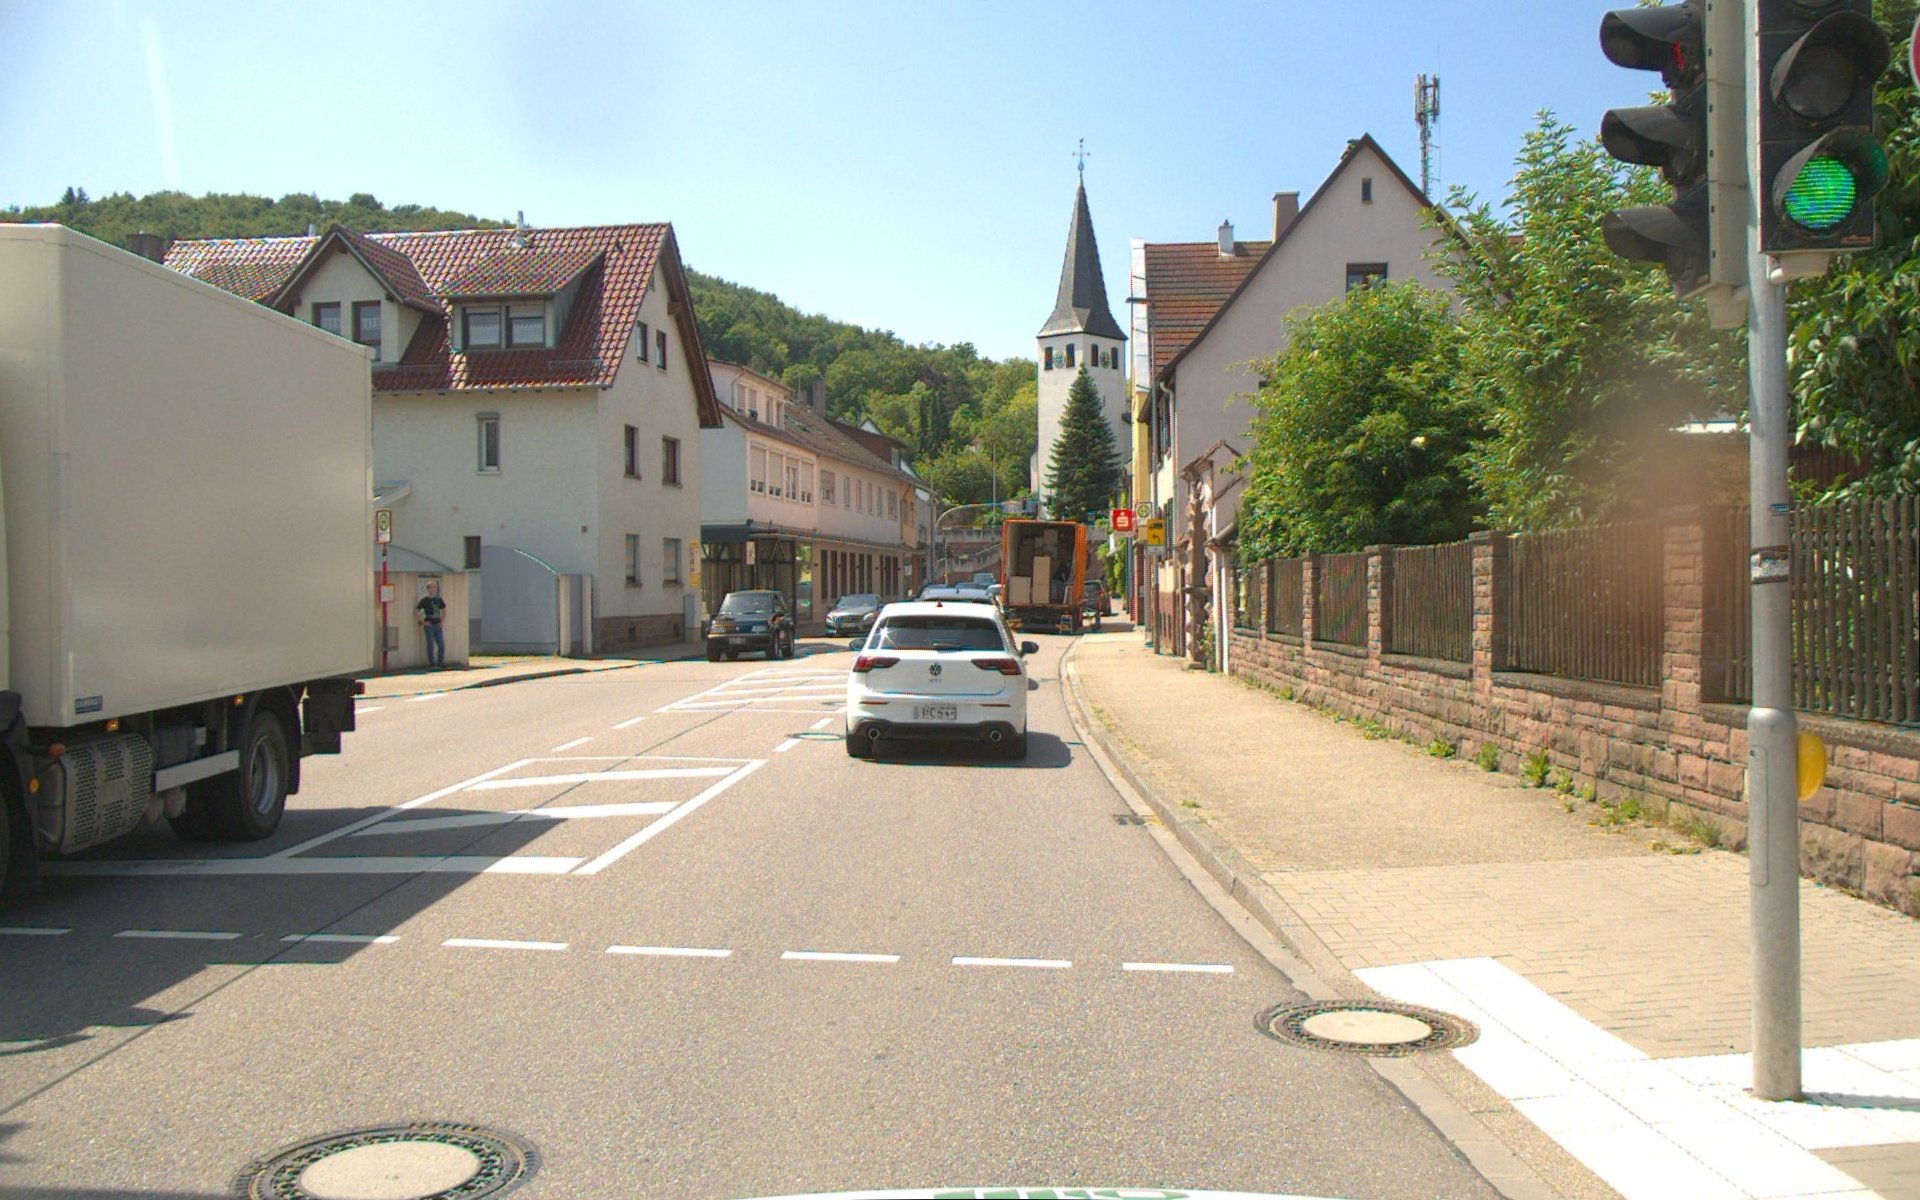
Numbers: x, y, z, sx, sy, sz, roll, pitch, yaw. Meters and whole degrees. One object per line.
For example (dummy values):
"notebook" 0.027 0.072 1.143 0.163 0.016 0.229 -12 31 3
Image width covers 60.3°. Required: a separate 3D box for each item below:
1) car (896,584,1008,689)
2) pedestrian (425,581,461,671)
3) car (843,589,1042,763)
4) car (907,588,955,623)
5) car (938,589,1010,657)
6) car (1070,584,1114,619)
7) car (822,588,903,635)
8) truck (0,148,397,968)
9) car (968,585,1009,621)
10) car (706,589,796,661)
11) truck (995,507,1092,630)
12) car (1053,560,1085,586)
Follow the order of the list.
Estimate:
"car" -0.091 0.612 28.982 1.778 1.657 4.000 -2 0 1
"pedestrian" -10.462 0.518 33.487 0.425 1.795 0.557 -1 0 20
"car" -0.121 0.693 16.860 1.777 1.545 4.000 1 0 1
"car" -1.334 0.251 77.538 1.757 1.534 4.136 -2 0 5
"car" 0.399 0.595 43.920 1.778 1.657 4.000 -2 0 1
"car" 6.203 0.092 78.241 1.778 1.545 4.000 -2 0 1
"car" -3.240 0.372 55.905 1.823 1.467 4.221 -2 0 9
"truck" -5.129 -0.195 8.543 2.451 3.292 6.038 1 0 -2
"car" 1.275 0.140 73.959 1.778 1.545 4.000 -2 0 1
"car" -5.075 0.573 40.487 1.703 1.680 3.668 0 0 0
"truck" 3.218 -1.090 63.168 3.296 4.243 9.522 -2 0 3
"car" 6.829 -1.682 104.256 1.778 1.545 4.000 -2 0 1
